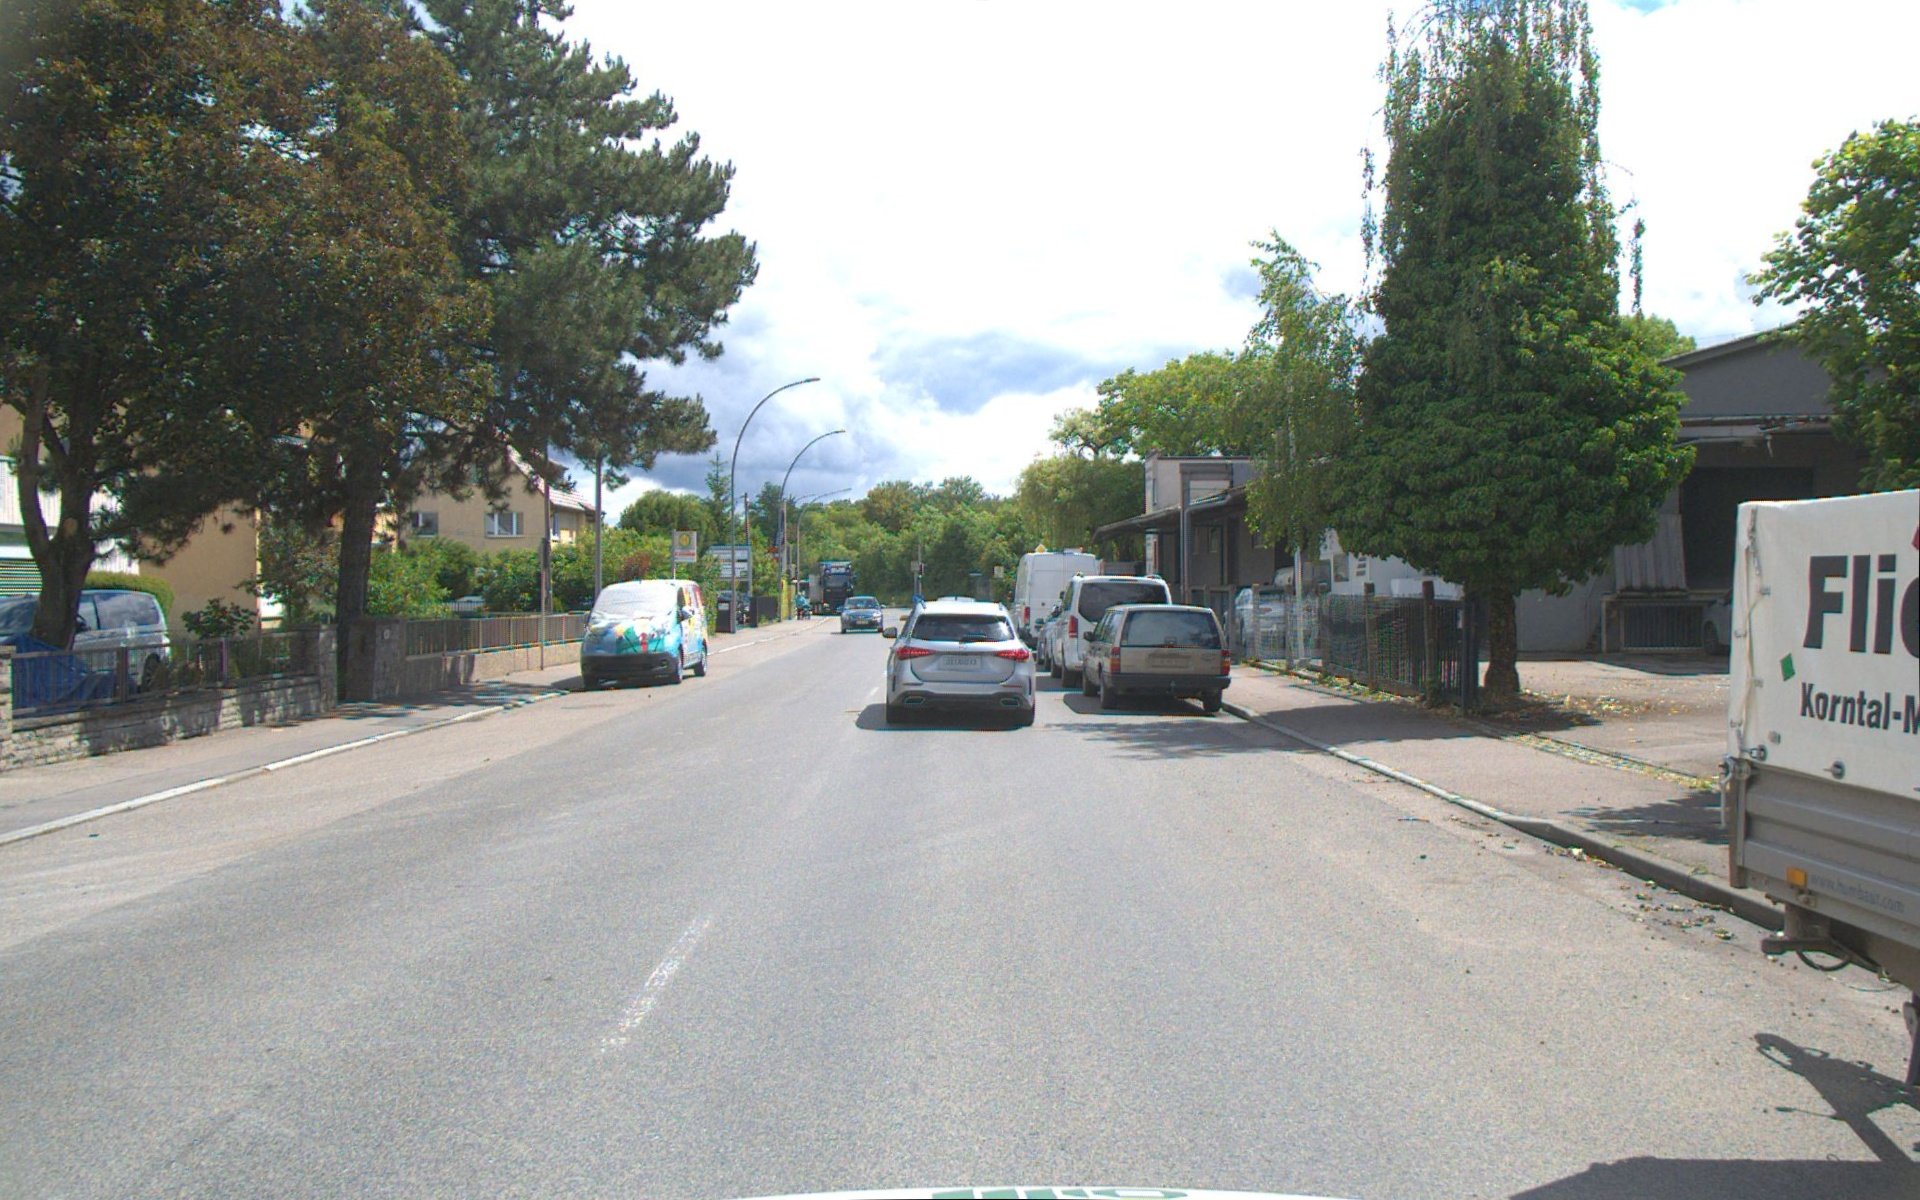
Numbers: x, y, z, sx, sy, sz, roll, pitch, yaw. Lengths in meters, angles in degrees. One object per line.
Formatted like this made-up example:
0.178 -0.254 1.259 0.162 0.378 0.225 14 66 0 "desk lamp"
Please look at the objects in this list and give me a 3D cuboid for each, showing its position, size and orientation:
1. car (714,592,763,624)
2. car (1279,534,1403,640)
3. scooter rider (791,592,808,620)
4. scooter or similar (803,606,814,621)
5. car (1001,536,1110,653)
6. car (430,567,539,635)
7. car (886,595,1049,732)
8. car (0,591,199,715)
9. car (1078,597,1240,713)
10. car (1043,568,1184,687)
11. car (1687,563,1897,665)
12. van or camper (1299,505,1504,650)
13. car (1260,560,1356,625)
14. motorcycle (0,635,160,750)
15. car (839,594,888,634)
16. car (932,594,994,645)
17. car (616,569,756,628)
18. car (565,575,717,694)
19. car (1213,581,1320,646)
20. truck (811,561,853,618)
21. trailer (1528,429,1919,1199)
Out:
-11.236 0.371 83.979 2.110 1.533 4.265 -1 0 -3 "car"
10.409 -0.398 45.624 1.977 2.728 5.496 -1 1 -2 "car"
-9.379 0.368 96.739 0.860 1.617 0.796 -1 0 -1 "scooter rider"
-8.815 0.772 96.266 0.599 0.846 0.659 1 0 0 "scooter or similar"
2.362 -0.135 42.751 2.170 2.736 6.655 -1 0 -2 "car"
-19.367 0.027 67.682 2.362 2.539 6.137 -2 0 2 "car"
0.027 0.713 20.775 1.847 1.535 3.999 0 0 -2 "car"
-15.118 0.828 27.955 2.037 1.863 5.478 -2 0 -1 "car"
2.815 0.728 24.369 1.719 1.476 4.993 2 0 0 "car"
2.661 0.442 29.922 1.867 1.918 5.388 1 0 -2 "car"
16.303 0.200 32.701 1.780 1.782 4.813 -1 2 1 "car"
10.366 -0.503 39.598 2.823 3.114 6.910 -1 0 -2 "van or camper"
10.968 -0.259 52.488 1.953 1.943 4.852 -1 1 -1 "car"
-9.725 0.985 17.899 1.830 1.186 0.825 -1 0 16 "motorcycle"
-3.964 0.560 68.323 1.862 1.544 4.317 -1 0 -2 "car"
0.058 0.586 52.226 1.846 1.535 3.999 0 0 -1 "car"
-12.471 -0.081 75.582 5.914 2.540 2.477 -1 0 -1 "car"
-5.806 0.551 30.673 1.796 1.885 4.895 -4 1 -1 "car"
7.634 0.285 41.660 1.728 1.515 4.926 0 1 -1 "car"
-10.036 -0.776 129.290 2.384 4.203 9.129 1 0 -10 "truck"
3.132 0.559 3.803 1.953 1.854 4.764 1 0 -1 "trailer"
